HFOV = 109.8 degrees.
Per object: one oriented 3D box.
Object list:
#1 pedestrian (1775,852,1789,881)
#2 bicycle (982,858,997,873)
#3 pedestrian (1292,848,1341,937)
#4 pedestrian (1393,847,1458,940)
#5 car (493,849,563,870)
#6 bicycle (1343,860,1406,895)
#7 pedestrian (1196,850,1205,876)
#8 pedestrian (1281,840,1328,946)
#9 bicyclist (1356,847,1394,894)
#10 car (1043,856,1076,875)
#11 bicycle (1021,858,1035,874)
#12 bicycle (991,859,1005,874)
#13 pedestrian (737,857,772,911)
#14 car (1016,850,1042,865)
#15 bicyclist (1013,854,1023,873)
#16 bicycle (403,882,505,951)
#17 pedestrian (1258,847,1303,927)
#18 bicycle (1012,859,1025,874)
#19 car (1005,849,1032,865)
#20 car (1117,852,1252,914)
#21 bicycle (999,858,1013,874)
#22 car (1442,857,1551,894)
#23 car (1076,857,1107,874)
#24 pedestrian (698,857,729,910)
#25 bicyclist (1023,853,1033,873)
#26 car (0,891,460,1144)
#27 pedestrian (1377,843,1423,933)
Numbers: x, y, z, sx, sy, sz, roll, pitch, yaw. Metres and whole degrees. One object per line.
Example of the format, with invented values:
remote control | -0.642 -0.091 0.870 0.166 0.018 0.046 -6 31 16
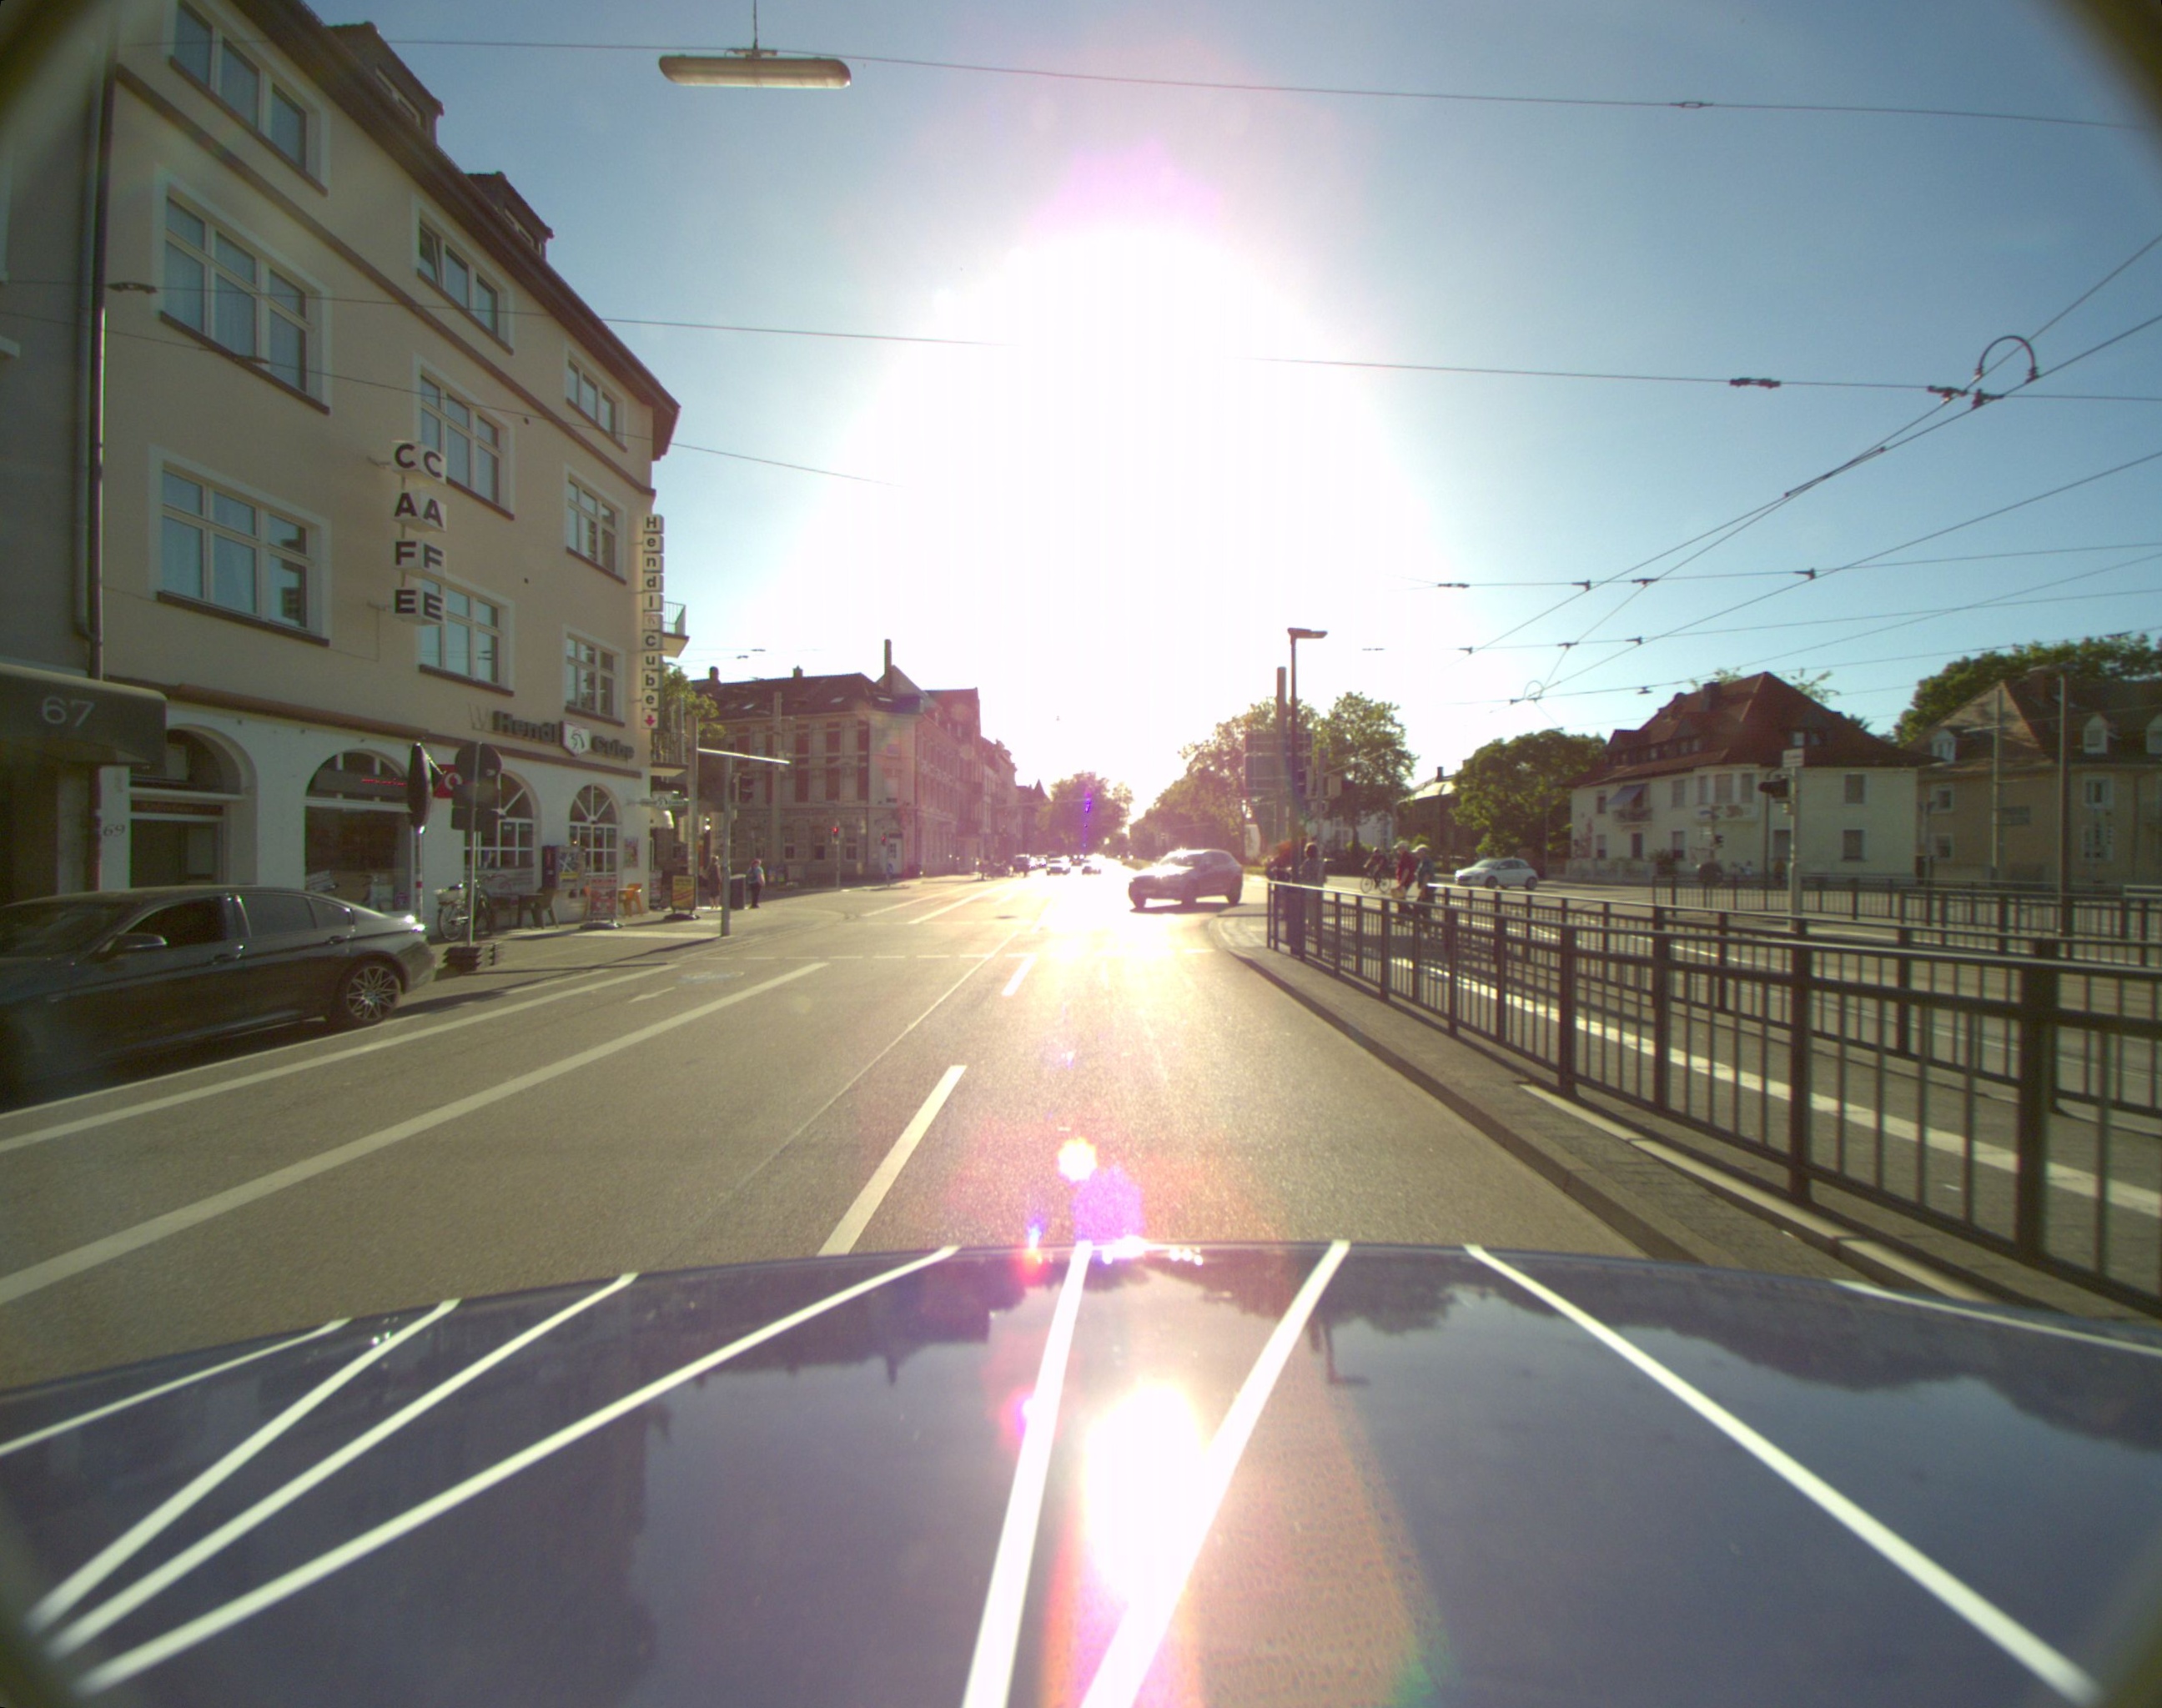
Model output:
pedestrian | 40.848 0.726 44.296 0.417 1.733 0.409 0 1 1
bicycle | -7.359 0.922 60.950 0.693 1.208 2.299 0 0 6
pedestrian | 4.578 0.732 14.819 0.743 1.680 0.776 0 1 4
pedestrian | 6.497 0.719 14.386 0.803 1.680 1.008 0 1 4
car | -40.621 0.367 55.826 4.263 1.483 2.003 0 1 17
bicycle | 11.925 0.930 30.834 2.382 1.349 1.020 0 1 -26
pedestrian | 8.654 0.647 55.069 0.581 1.824 0.559 0 1 11
pedestrian | 3.947 0.670 13.445 0.637 1.817 0.776 0 1 4
bicyclist | 11.919 0.636 30.805 1.005 1.872 0.991 0 1 -26
car | -1.828 0.988 66.228 2.294 1.566 4.596 0 0 6
bicycle | -4.224 0.953 60.598 0.693 1.208 2.299 0 0 6
bicycle | -6.657 0.981 60.959 0.693 1.208 2.299 0 0 6
pedestrian | -10.434 0.948 24.292 0.775 1.680 0.800 -1 -1 1
car | -6.088 0.401 89.222 2.294 1.716 4.596 0 0 7
bicyclist | -5.188 0.798 62.962 0.696 1.596 0.745 0 1 6
bicycle | -11.562 1.112 14.088 0.697 1.102 1.863 0 0 -13
pedestrian | 4.323 0.698 16.510 0.799 1.680 0.776 0 1 4
bicycle | -5.189 1.003 63.044 0.693 1.208 2.299 0 0 6
car | -6.794 0.286 83.102 2.294 1.716 4.595 0 0 4
car | 3.250 0.791 23.090 1.975 1.660 4.629 0 1 38
bicycle | -5.957 0.951 60.637 0.693 1.208 2.299 0 0 6
car | 19.309 0.967 35.330 4.275 1.594 1.997 0 1 -16
car | 0.934 1.005 65.973 2.294 1.391 4.596 0 0 6
pedestrian | -11.899 0.951 24.630 0.663 1.680 0.677 0 1 1
bicyclist | -4.262 0.714 61.296 0.696 1.596 0.745 0 1 6
car | -7.877 1.162 6.093 1.904 1.421 4.716 -2 0 0
pedestrian | 6.601 0.690 15.737 0.651 1.821 0.808 0 1 4
